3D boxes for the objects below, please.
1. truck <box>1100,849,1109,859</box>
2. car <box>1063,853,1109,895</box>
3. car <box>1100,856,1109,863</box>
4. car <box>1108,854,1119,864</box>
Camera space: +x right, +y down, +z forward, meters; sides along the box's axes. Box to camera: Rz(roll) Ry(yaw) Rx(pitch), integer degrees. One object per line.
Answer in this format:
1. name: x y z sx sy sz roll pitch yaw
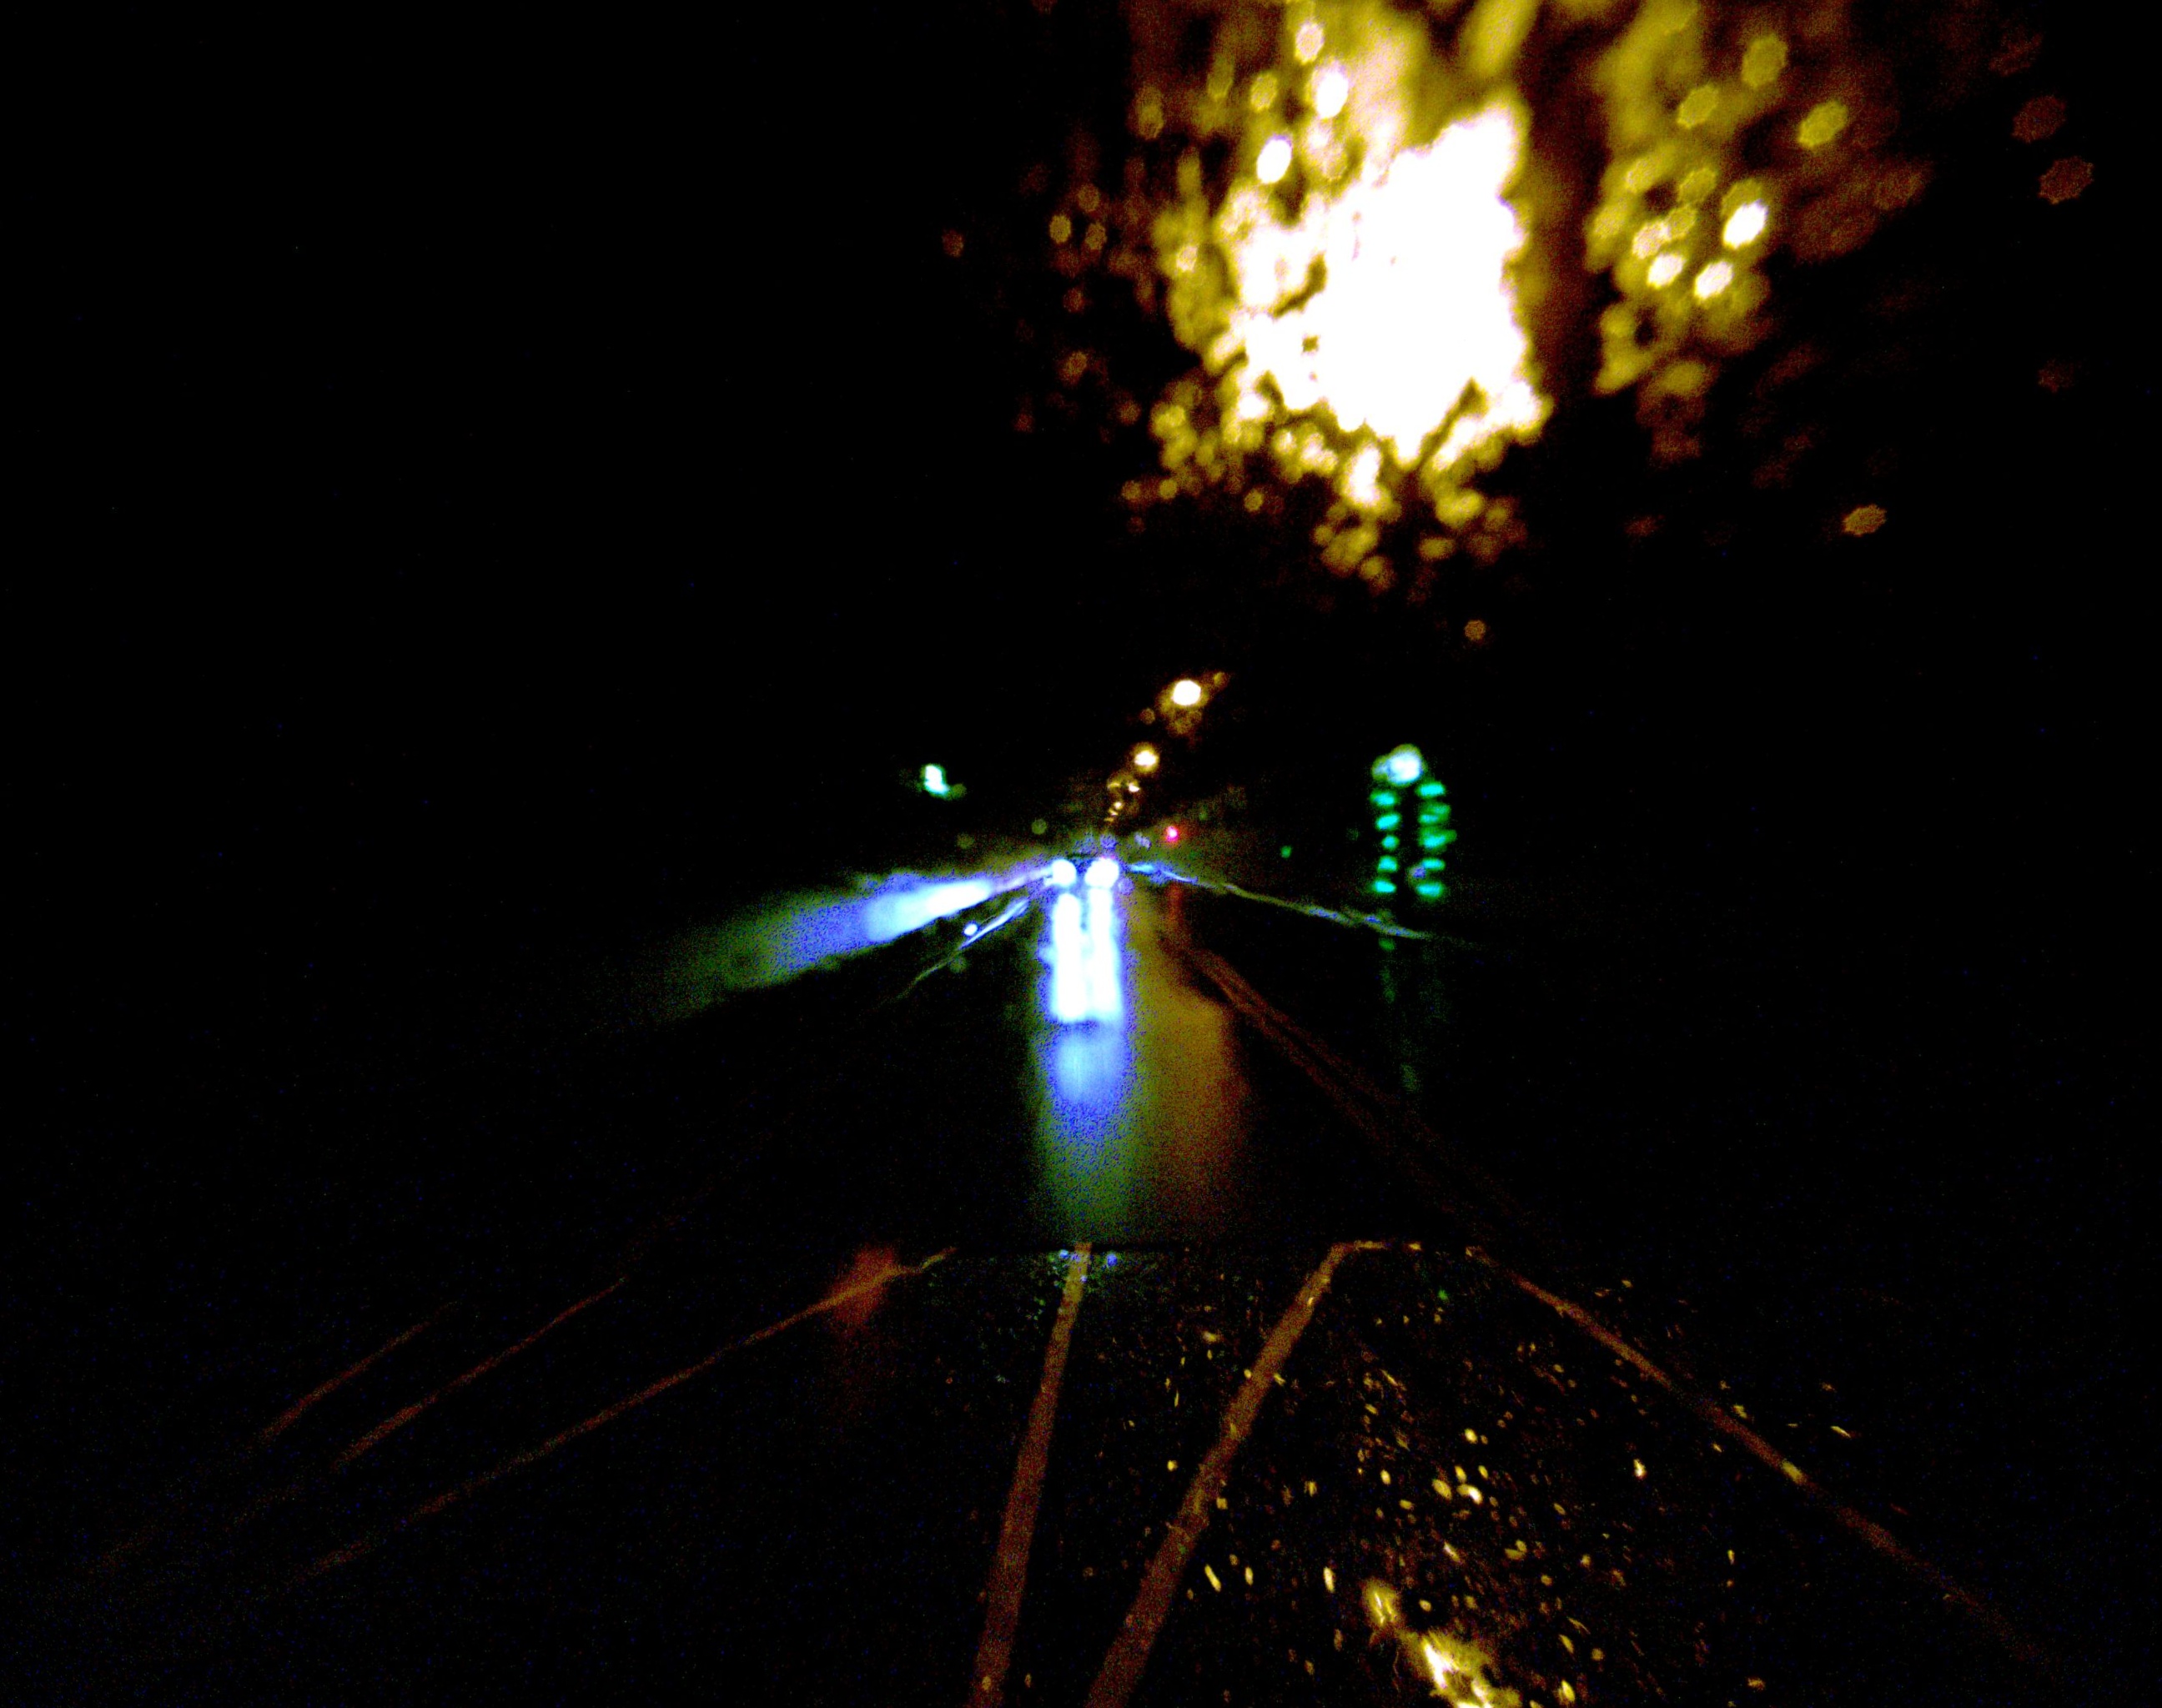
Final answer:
1. truck: 7.225 -0.046 233.228 2.285 2.999 6.593 0 0 0
2. car: 0.233 0.826 32.757 1.829 1.650 3.929 2 0 1
3. car: 5.475 1.207 175.772 1.799 1.474 3.869 1 0 -1
4. car: 5.727 0.861 132.616 1.761 1.519 3.815 -1 0 1
